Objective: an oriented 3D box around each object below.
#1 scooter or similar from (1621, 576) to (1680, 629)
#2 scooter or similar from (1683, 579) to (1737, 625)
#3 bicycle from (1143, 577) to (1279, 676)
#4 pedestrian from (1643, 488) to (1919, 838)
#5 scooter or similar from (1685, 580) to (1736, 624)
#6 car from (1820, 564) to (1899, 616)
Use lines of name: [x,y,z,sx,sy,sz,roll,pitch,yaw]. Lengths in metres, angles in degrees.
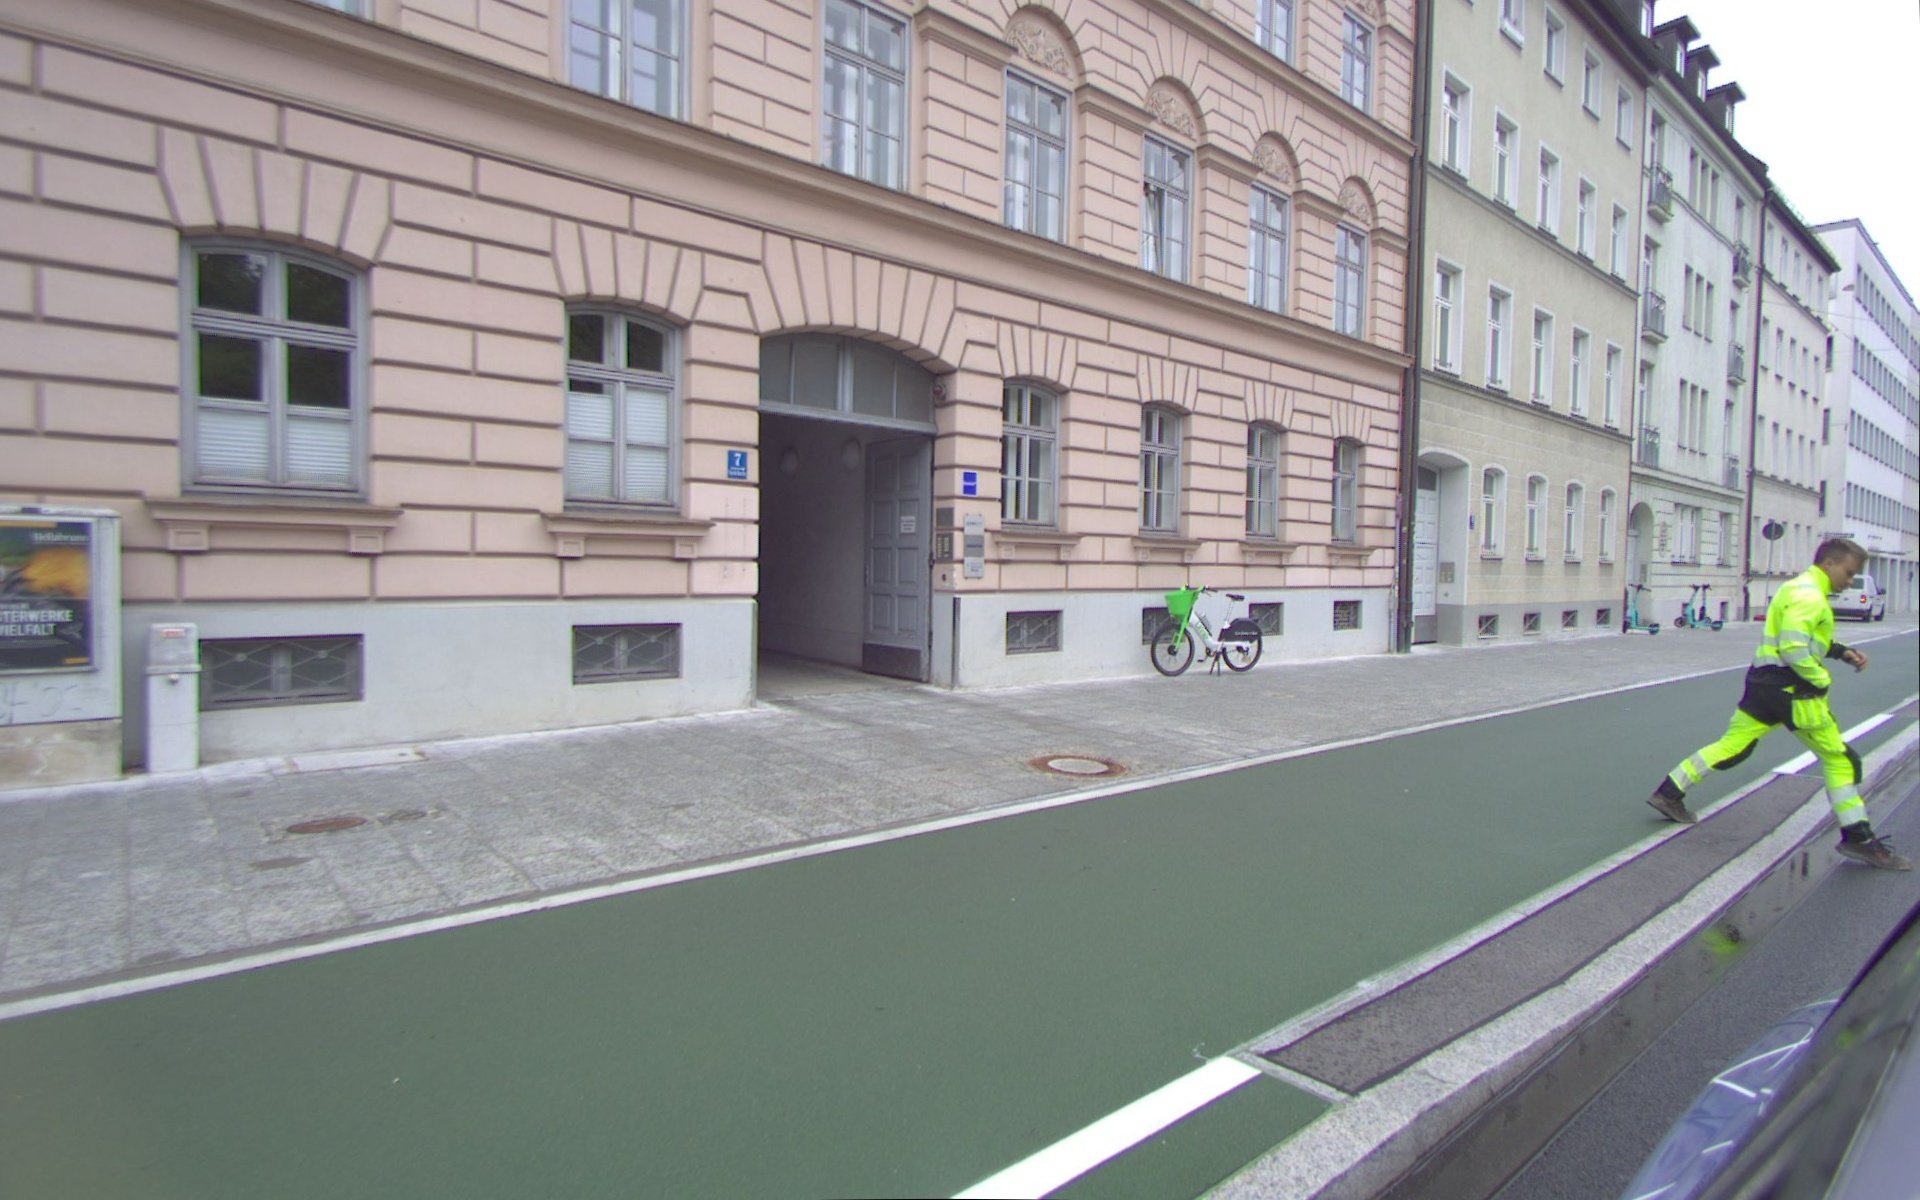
scooter or similar: [17.027,0.047,24.970,1.055,1.260,0.554,1,2,-6]
scooter or similar: [20.680,0.050,27.930,1.064,1.206,0.451,2,2,21]
bicycle: [3.214,0.317,12.945,1.690,1.191,0.558,0,2,-26]
pedestrian: [4.612,0.321,5.694,0.974,1.825,0.815,0,1,0]
scooter or similar: [21.496,0.060,28.999,1.059,1.206,0.436,2,2,10]
car: [34.413,-0.403,38.686,3.931,1.854,1.765,-1,3,-41]
